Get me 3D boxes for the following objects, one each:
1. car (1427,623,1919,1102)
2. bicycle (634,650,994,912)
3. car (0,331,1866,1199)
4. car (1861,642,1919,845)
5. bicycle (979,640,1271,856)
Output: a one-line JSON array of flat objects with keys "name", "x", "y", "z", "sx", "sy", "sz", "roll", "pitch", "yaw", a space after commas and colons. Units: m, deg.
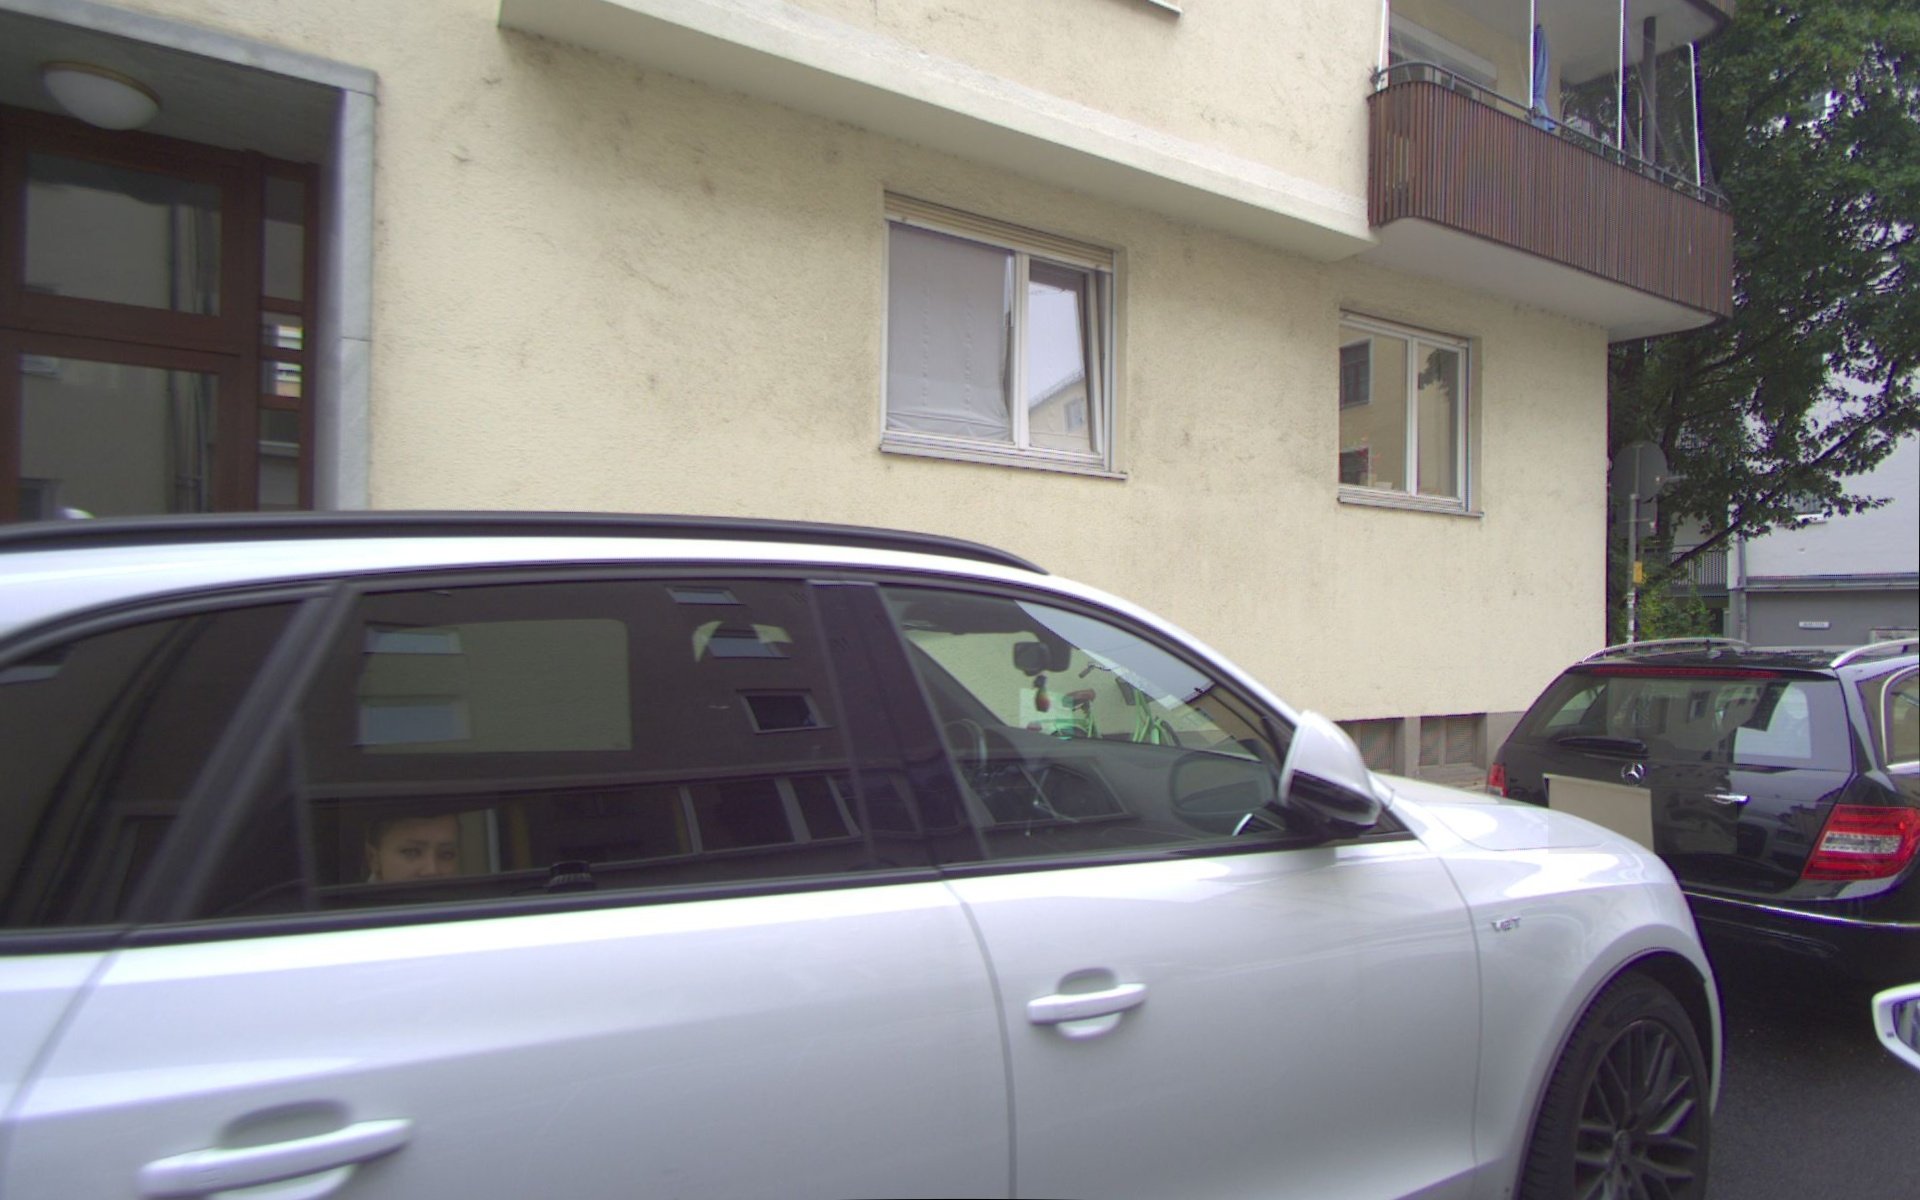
[{"name": "car", "x": 4.533, "y": 0.883, "z": 4.987, "sx": 4.368, "sy": 1.503, "sz": 1.759, "roll": 1, "pitch": -2, "yaw": -28}, {"name": "bicycle", "x": -0.727, "y": 0.857, "z": 5.236, "sx": 1.767, "sy": 1.176, "sz": 0.579, "roll": 2, "pitch": -3, "yaw": -29}, {"name": "car", "x": 0.016, "y": 0.702, "z": 2.249, "sx": 4.316, "sy": 1.697, "sz": 1.758, "roll": 2, "pitch": -2, "yaw": -30}, {"name": "car", "x": 8.943, "y": 1.038, "z": 7.584, "sx": 4.329, "sy": 1.427, "sz": 1.848, "roll": 1, "pitch": -2, "yaw": -29}, {"name": "bicycle", "x": 1.040, "y": 0.849, "z": 6.214, "sx": 1.767, "sy": 1.176, "sz": 0.642, "roll": 2, "pitch": -3, "yaw": -29}]
